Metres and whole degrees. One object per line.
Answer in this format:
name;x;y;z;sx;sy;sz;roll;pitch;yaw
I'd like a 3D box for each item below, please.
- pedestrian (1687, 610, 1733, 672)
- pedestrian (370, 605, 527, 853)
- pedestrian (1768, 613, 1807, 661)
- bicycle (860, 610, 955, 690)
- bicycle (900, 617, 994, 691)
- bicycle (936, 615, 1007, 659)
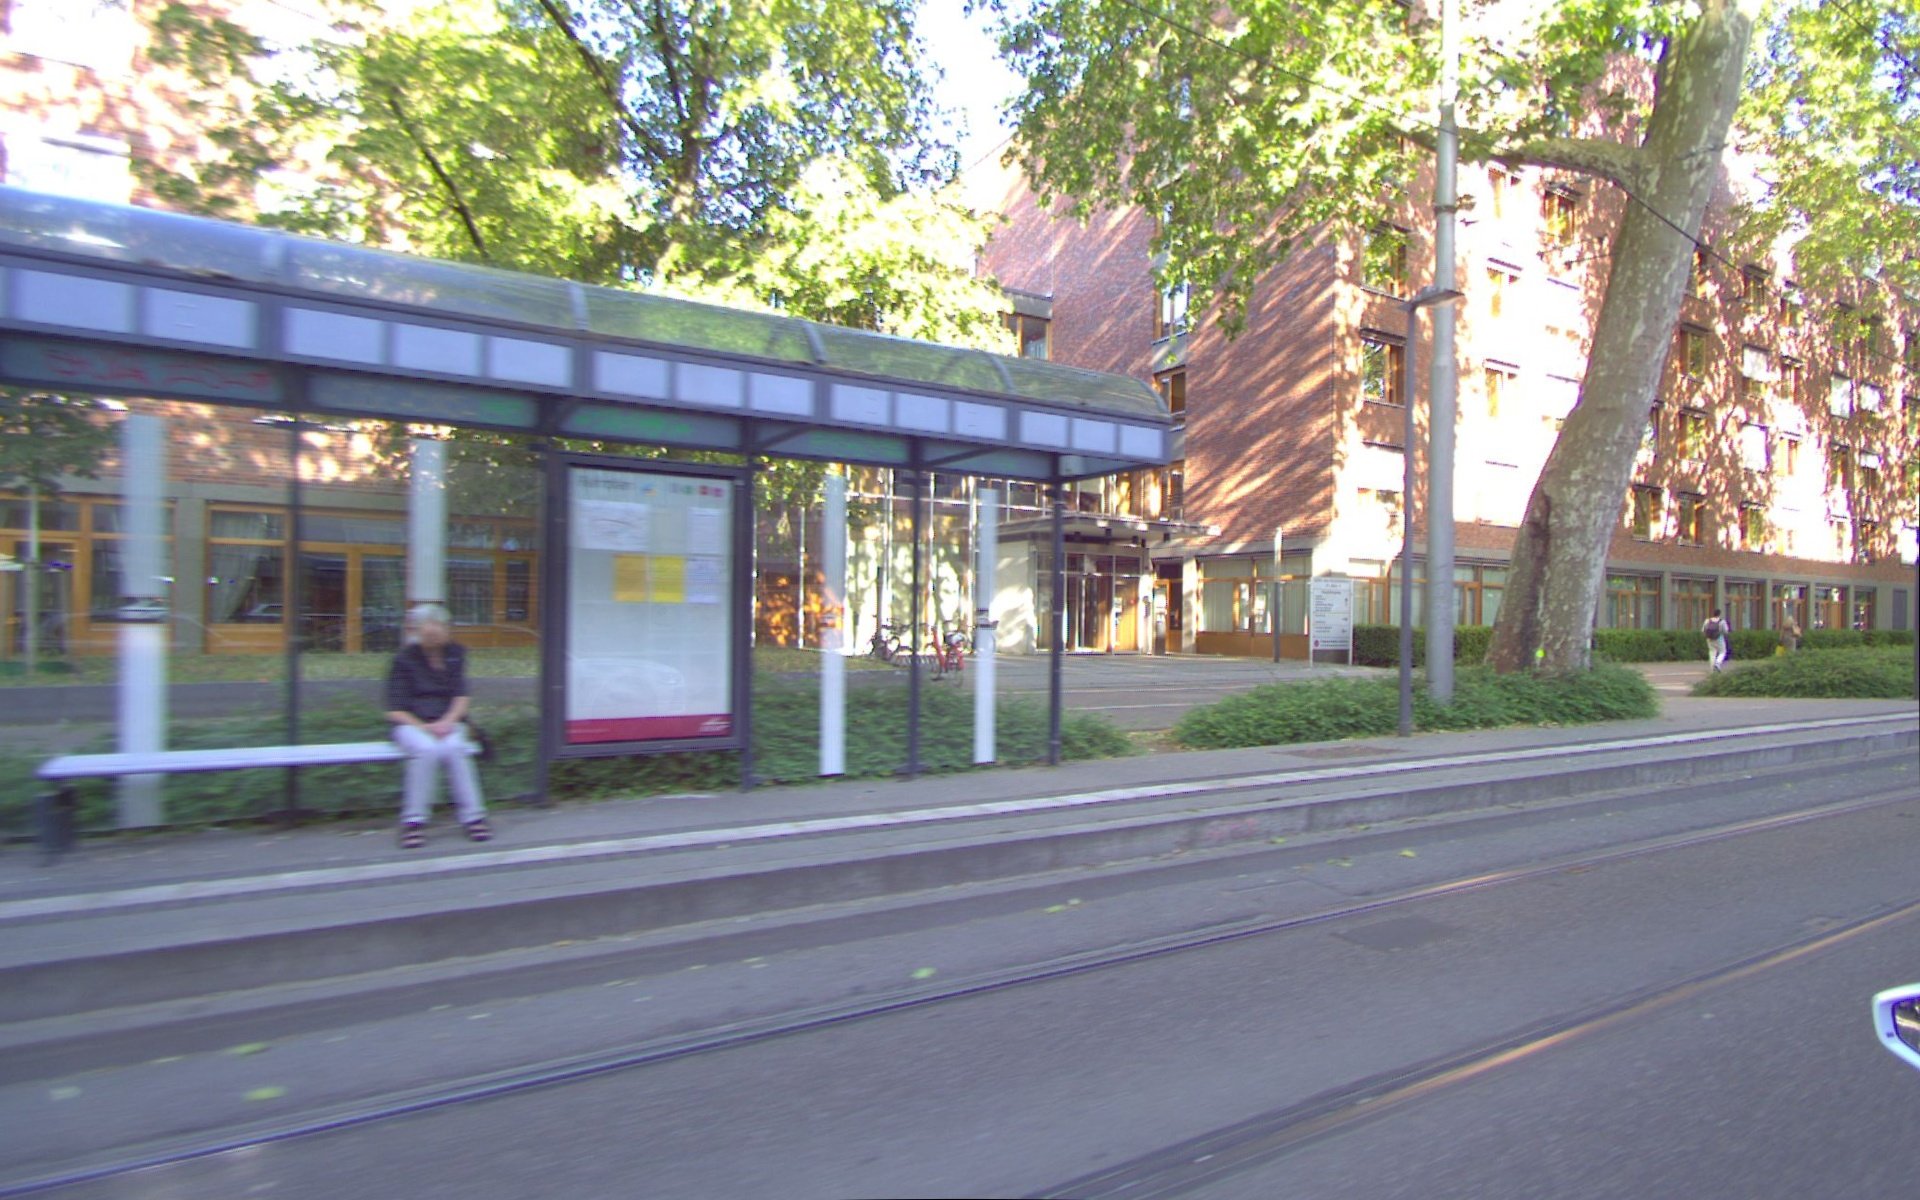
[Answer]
pedestrian;21.121;1.147;28.273;0.850;1.694;0.732;1;0;-30
pedestrian;-2.701;0.634;5.293;0.652;1.184;0.701;1;-2;-33
pedestrian;29.331;1.306;35.593;0.935;1.626;0.771;1;0;-30
bicycle;-0.984;0.855;17.980;0.674;1.235;2.447;1;1;-29
bicycle;-0.282;0.938;18.269;0.674;1.182;2.330;1;1;-29
bicycle;0.300;0.992;27.280;1.920;1.087;0.760;1;0;45
